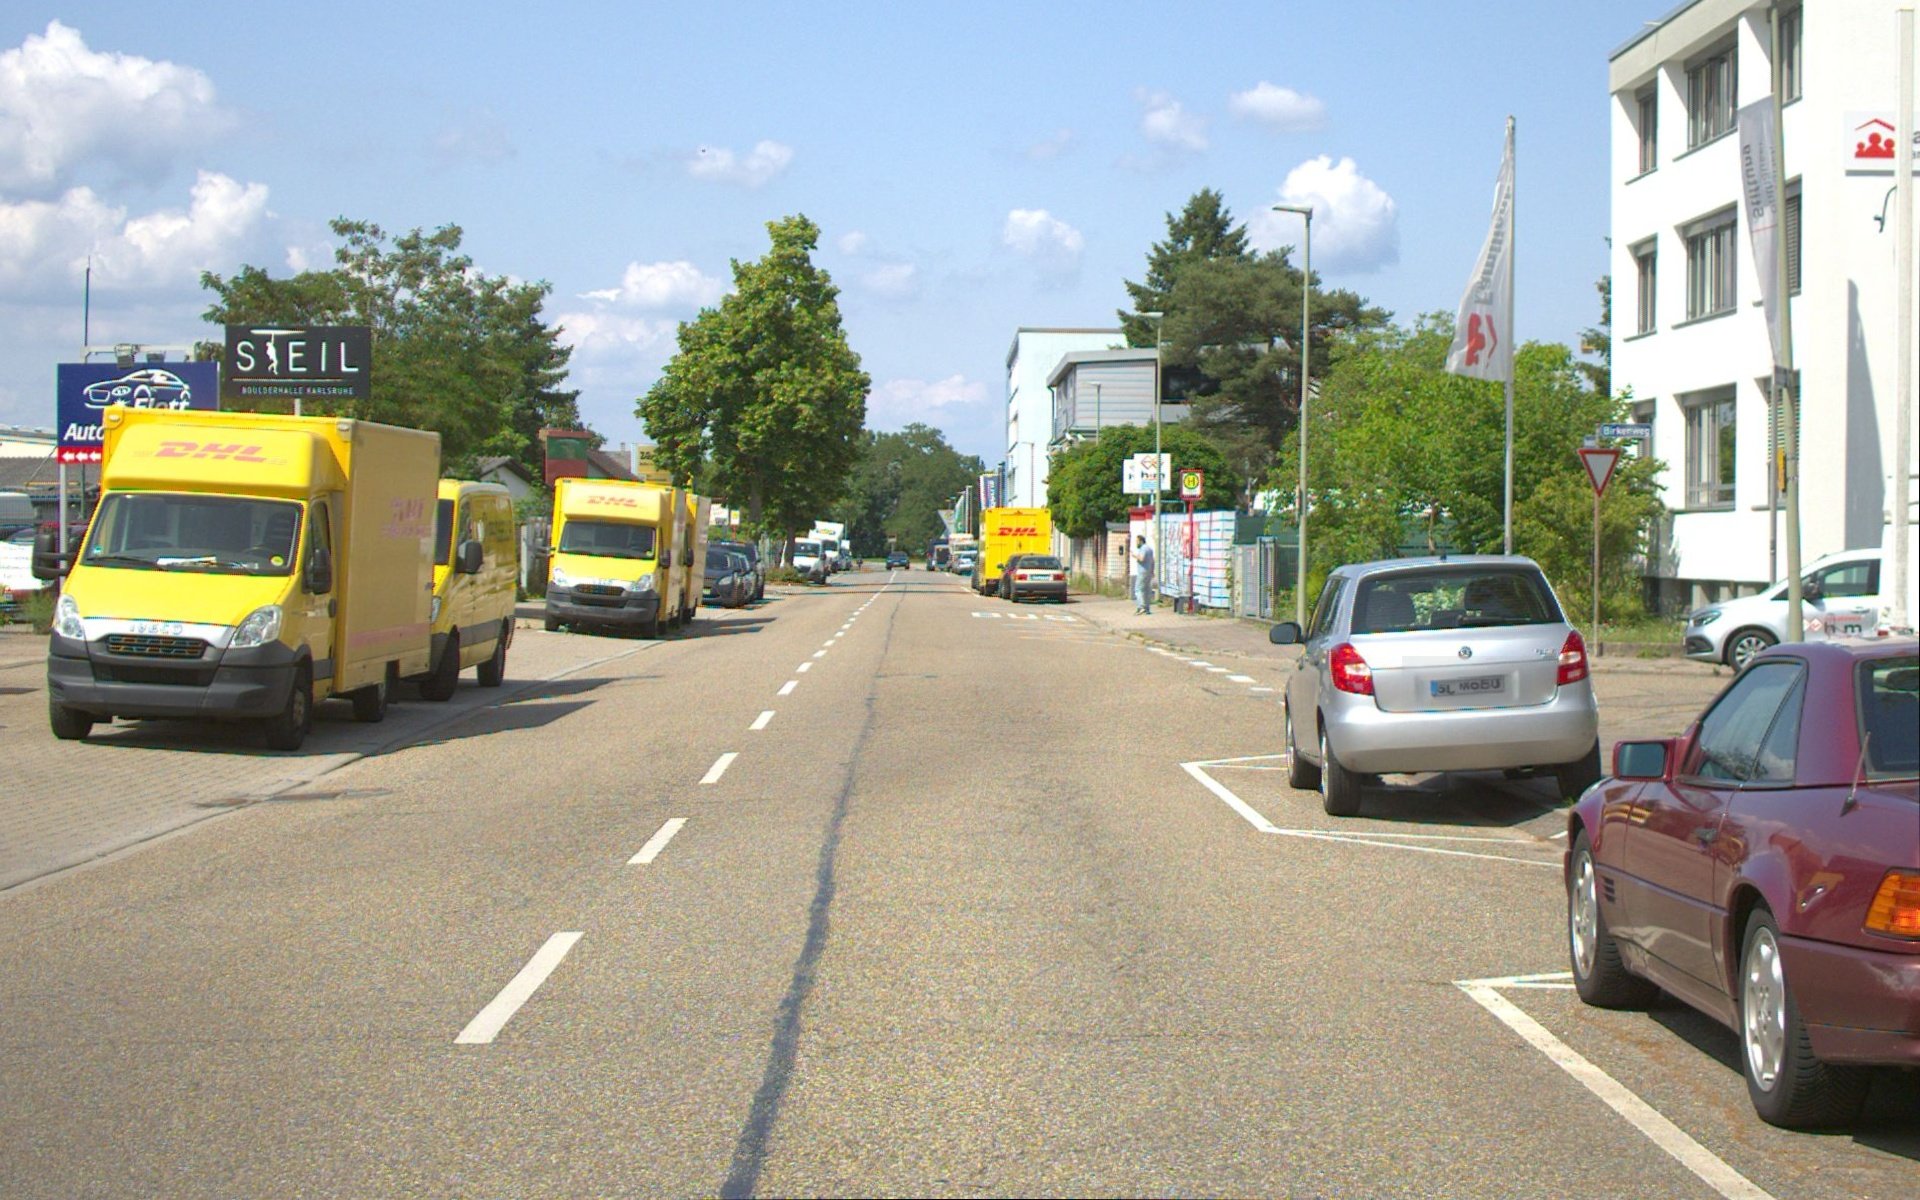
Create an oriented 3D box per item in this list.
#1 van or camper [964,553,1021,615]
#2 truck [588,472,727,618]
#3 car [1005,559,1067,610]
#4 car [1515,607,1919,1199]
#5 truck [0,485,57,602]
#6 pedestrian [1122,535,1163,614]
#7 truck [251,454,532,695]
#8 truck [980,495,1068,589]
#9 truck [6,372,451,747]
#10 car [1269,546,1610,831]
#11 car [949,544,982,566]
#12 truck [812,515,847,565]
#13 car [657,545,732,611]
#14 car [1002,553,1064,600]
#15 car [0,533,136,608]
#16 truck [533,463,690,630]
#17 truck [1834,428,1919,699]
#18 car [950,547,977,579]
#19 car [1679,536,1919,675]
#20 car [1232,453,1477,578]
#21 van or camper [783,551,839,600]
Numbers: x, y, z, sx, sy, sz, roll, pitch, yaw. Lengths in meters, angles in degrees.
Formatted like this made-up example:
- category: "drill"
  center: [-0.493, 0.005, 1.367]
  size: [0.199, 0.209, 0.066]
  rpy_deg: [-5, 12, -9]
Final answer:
- category: "van or camper"
  center: [1.248, -0.644, 133.930]
  size: [1.993, 2.283, 5.448]
  rpy_deg: [2, 1, -1]
- category: "truck"
  center: [-6.389, -1.181, 73.493]
  size: [2.316, 2.853, 7.105]
  rpy_deg: [3, 1, -1]
- category: "car"
  center: [2.248, -0.482, 102.379]
  size: [1.651, 1.382, 4.423]
  rpy_deg: [2, 1, -1]
- category: "car"
  center: [2.912, 0.743, 10.375]
  size: [1.669, 1.330, 4.438]
  rpy_deg: [1, 1, -1]
- category: "truck"
  center: [-21.517, -1.209, 72.970]
  size: [2.112, 2.479, 5.717]
  rpy_deg: [1, 1, 13]
- category: "pedestrian"
  center: [4.074, -0.569, 76.644]
  size: [0.715, 1.691, 0.522]
  rpy_deg: [-5, 1, -5]
- category: "truck"
  center: [-6.110, -0.307, 37.691]
  size: [1.993, 2.405, 6.064]
  rpy_deg: [1, 1, 1]
- category: "truck"
  center: [2.070, -1.918, 113.865]
  size: [2.474, 2.930, 7.189]
  rpy_deg: [2, 1, -2]
- category: "truck"
  center: [-6.230, -0.377, 30.345]
  size: [2.220, 2.847, 7.069]
  rpy_deg: [2, 1, 1]
- category: "car"
  center: [2.927, 0.476, 21.711]
  size: [1.610, 1.575, 4.000]
  rpy_deg: [2, 1, 1]
- category: "car"
  center: [0.335, -2.731, 206.938]
  size: [1.928, 1.306, 4.000]
  rpy_deg: [0, 1, -1]
- category: "truck"
  center: [-8.259, -3.835, 218.701]
  size: [2.029, 3.143, 6.500]
  rpy_deg: [0, 1, -1]
- category: "car"
  center: [-7.021, -0.608, 91.232]
  size: [1.724, 1.598, 4.415]
  rpy_deg: [4, 1, -2]
- category: "car"
  center: [2.267, -0.752, 107.522]
  size: [1.662, 1.436, 4.284]
  rpy_deg: [0, 1, -2]
- category: "car"
  center: [-16.975, -0.564, 63.478]
  size: [1.811, 1.301, 3.867]
  rpy_deg: [0, 2, 14]
- category: "truck"
  center: [-6.391, -0.962, 63.895]
  size: [2.269, 2.845, 7.175]
  rpy_deg: [2, 0, -1]
- category: "truck"
  center: [11.872, -0.323, 33.937]
  size: [6.038, 2.568, 2.567]
  rpy_deg: [0, 1, -27]
- category: "car"
  center: [0.253, -2.474, 230.894]
  size: [1.707, 2.082, 4.000]
  rpy_deg: [0, 1, -1]
- category: "car"
  center: [11.812, 0.090, 45.266]
  size: [4.399, 1.746, 1.863]
  rpy_deg: [1, -2, 18]
- category: "car"
  center: [8.580, -1.824, 74.967]
  size: [4.905, 2.643, 2.074]
  rpy_deg: [0, 1, -8]
- category: "van or camper"
  center: [-7.488, -1.258, 173.343]
  size: [2.174, 2.405, 7.697]
  rpy_deg: [1, 1, 2]
